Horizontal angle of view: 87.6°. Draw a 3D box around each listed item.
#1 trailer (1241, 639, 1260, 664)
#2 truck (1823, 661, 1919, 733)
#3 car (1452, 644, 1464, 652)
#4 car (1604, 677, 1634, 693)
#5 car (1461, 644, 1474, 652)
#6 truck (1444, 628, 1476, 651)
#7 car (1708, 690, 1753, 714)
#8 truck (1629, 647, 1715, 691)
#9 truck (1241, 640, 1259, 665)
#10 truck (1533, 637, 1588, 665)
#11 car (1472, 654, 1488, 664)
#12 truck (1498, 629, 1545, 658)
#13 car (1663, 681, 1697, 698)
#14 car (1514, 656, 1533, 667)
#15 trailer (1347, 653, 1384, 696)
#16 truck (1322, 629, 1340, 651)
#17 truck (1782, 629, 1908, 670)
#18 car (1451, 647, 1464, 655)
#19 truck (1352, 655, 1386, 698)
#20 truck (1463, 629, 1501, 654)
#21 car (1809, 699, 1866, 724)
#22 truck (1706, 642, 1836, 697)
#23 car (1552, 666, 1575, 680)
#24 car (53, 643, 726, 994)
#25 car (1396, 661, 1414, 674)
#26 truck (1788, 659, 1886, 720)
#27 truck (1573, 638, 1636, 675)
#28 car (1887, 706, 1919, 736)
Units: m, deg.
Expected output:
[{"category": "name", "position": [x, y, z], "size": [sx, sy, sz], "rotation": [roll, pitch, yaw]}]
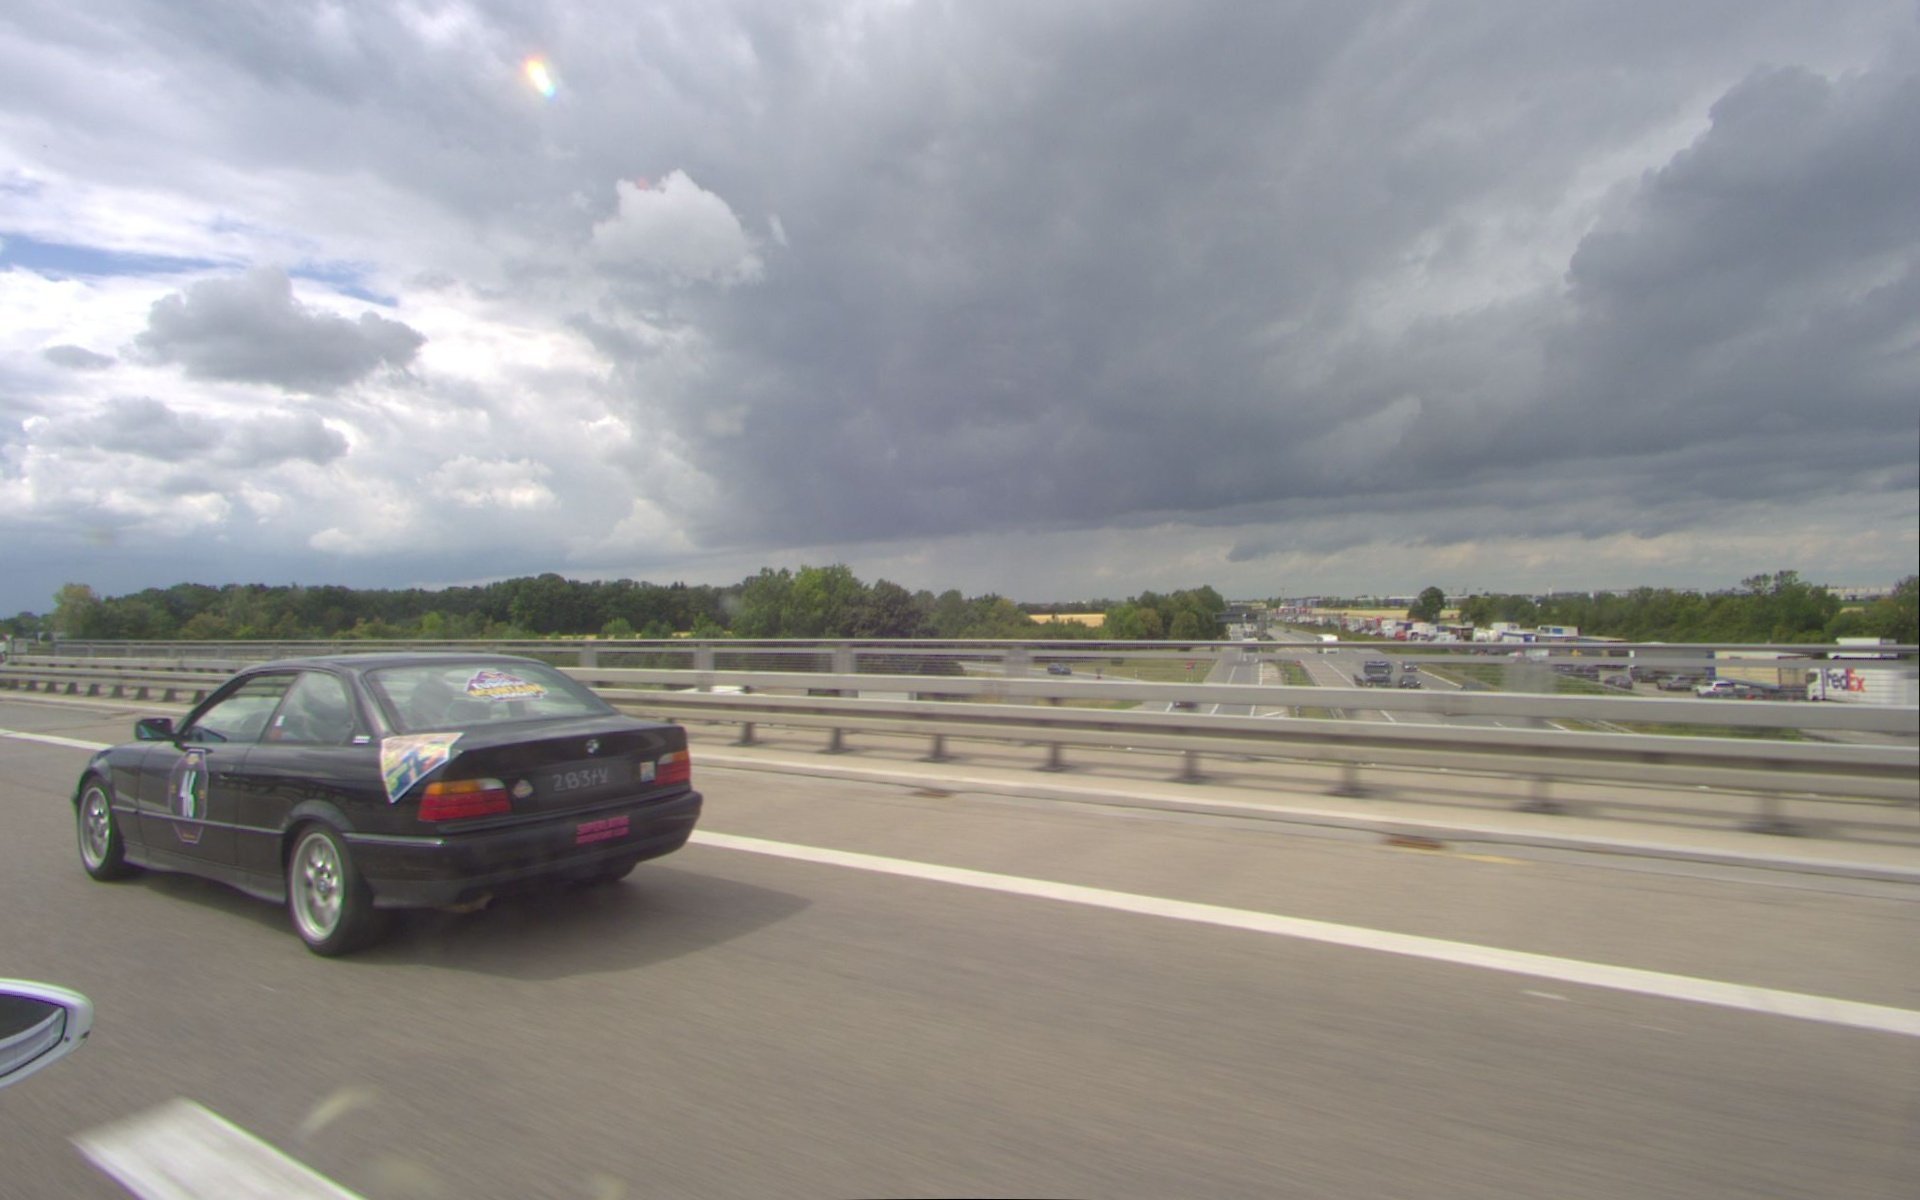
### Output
[{"category": "trailer", "position": [52.765, 9.333, 181.616], "size": [2.936, 4.152, 14.231], "rotation": [0, -1, 17]}, {"category": "truck", "position": [68.730, 6.930, 72.743], "size": [3.936, 4.612, 13.775], "rotation": [0, -2, 17]}, {"category": "car", "position": [104.827, 10.100, 210.763], "size": [1.707, 1.505, 3.995], "rotation": [0, -1, 17]}, {"category": "car", "position": [70.963, 9.133, 107.921], "size": [1.707, 1.505, 3.994], "rotation": [0, -1, 18]}, {"category": "car", "position": [101.707, 9.649, 200.640], "size": [1.707, 1.505, 3.995], "rotation": [0, -1, 17]}, {"category": "truck", "position": [113.763, 8.964, 228.078], "size": [4.012, 4.882, 15.340], "rotation": [0, -2, 16]}, {"category": "car", "position": [63.696, 8.397, 82.818], "size": [1.643, 1.576, 3.994], "rotation": [0, -1, 18]}, {"category": "truck", "position": [82.388, 7.852, 116.356], "size": [3.937, 4.612, 14.865], "rotation": [0, -2, 19]}, {"category": "truck", "position": [50.564, 9.066, 174.596], "size": [2.936, 4.152, 6.521], "rotation": [0, -1, 18]}, {"category": "truck", "position": [94.681, 7.943, 158.155], "size": [4.069, 4.083, 14.876], "rotation": [0, -2, 18]}, {"category": "car", "position": [90.065, 10.248, 173.466], "size": [1.707, 1.505, 3.995], "rotation": [0, -1, 17]}, {"category": "truck", "position": [99.681, 7.604, 177.998], "size": [4.011, 4.882, 14.475], "rotation": [0, -2, 16]}, {"category": "car", "position": [73.805, 9.152, 102.655], "size": [1.707, 1.505, 3.994], "rotation": [0, -1, 19]}, {"category": "car", "position": [82.032, 8.972, 145.753], "size": [1.707, 1.505, 3.994], "rotation": [0, -1, 18]}, {"category": "trailer", "position": [46.609, 8.423, 115.363], "size": [3.076, 4.341, 13.933], "rotation": [0, -1, 18]}, {"category": "truck", "position": [66.207, 7.053, 178.768], "size": [2.452, 3.727, 5.160], "rotation": [0, 0, 16]}, {"category": "truck", "position": [117.114, 6.453, 132.964], "size": [3.878, 5.105, 12.995], "rotation": [1, -2, -10]}, {"category": "car", "position": [95.865, 9.848, 192.959], "size": [1.707, 1.505, 3.995], "rotation": [0, -1, 17]}, {"category": "truck", "position": [44.523, 8.309, 109.061], "size": [3.076, 4.341, 5.606], "rotation": [0, -1, 18]}, {"category": "truck", "position": [107.045, 8.496, 205.551], "size": [4.012, 4.882, 15.340], "rotation": [0, -2, 16]}, {"category": "car", "position": [65.045, 8.232, 74.290], "size": [1.707, 1.505, 3.994], "rotation": [0, -1, 19]}, {"category": "truck", "position": [76.692, 6.406, 95.392], "size": [3.936, 4.612, 16.346], "rotation": [0, -2, 18]}, {"category": "car", "position": [77.365, 9.341, 128.478], "size": [1.643, 1.576, 3.994], "rotation": [0, -1, 18]}, {"category": "car", "position": [-3.509, 0.944, 5.866], "size": [4.305, 1.297, 1.700], "rotation": [0, -2, 34]}, {"category": "car", "position": [62.397, 9.470, 140.357], "size": [1.965, 1.639, 3.994], "rotation": [0, -1, 19]}, {"category": "truck", "position": [71.622, 7.217, 81.977], "size": [3.862, 4.568, 6.285], "rotation": [0, -2, 18]}, {"category": "truck", "position": [88.899, 7.681, 138.500], "size": [3.938, 4.612, 15.282], "rotation": [0, -2, 19]}, {"category": "car", "position": [62.036, 7.833, 64.680], "size": [1.643, 1.576, 3.994], "rotation": [0, -1, 18]}]
